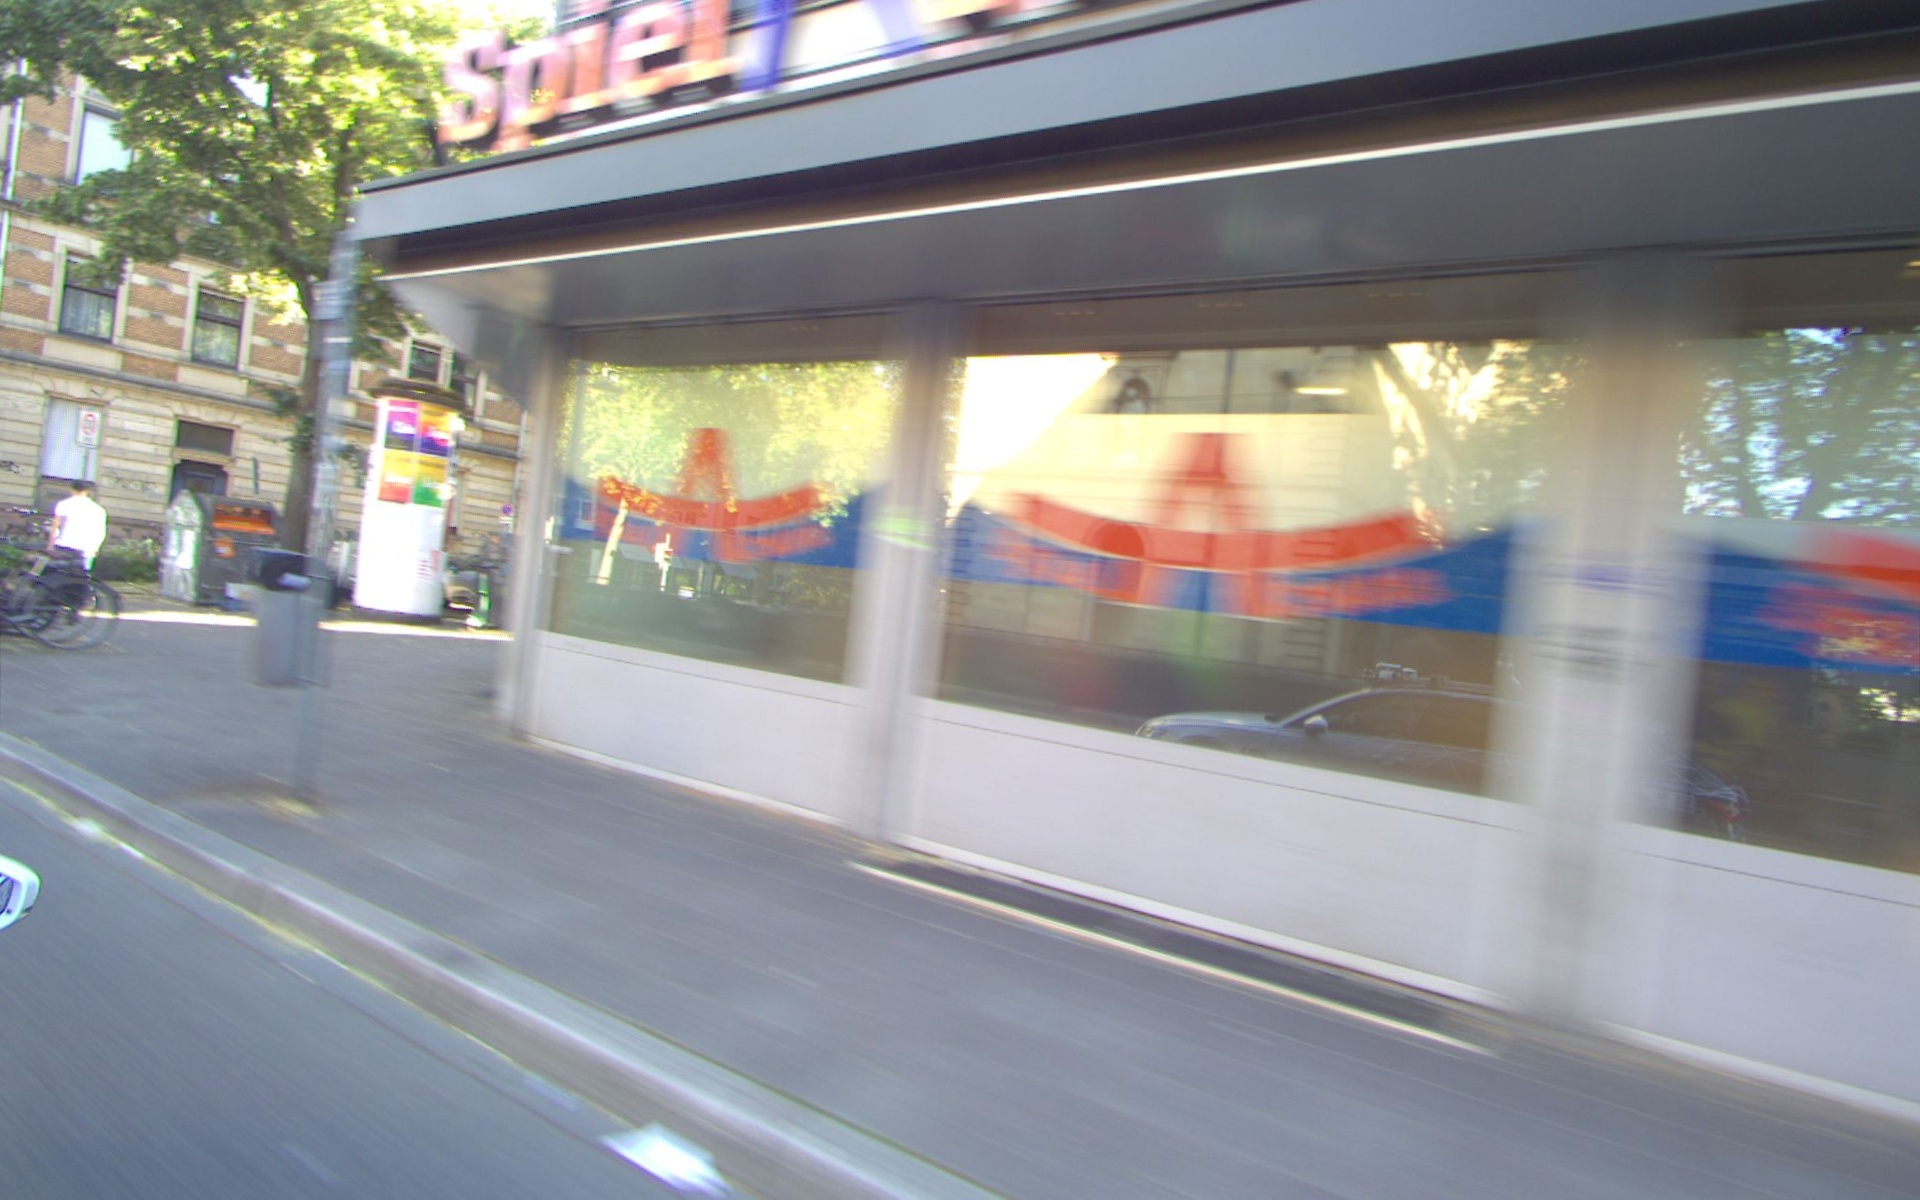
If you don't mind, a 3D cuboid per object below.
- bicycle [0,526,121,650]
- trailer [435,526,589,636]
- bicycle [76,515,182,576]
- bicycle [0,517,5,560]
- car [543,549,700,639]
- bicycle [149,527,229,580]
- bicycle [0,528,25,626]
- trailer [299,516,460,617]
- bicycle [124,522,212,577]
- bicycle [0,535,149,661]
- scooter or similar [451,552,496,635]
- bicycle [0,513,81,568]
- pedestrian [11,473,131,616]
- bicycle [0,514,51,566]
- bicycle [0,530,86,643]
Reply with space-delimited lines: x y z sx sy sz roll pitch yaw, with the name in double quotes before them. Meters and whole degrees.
"bicycle" -9.224 -0.150 9.401 0.604 1.118 1.974 7 -1 28
"trailer" -8.986 -0.401 20.101 3.142 1.907 1.572 5 0 42
"bicycle" -20.386 -1.335 24.699 2.067 1.196 0.616 7 0 5
"bicycle" -21.898 -1.418 22.002 1.871 1.037 0.418 7 0 12
"car" -8.350 -0.176 24.643 3.883 1.752 1.963 5 -3 45
"bicycle" -19.993 -1.202 26.099 1.871 1.137 0.405 7 0 10
"bicycle" -11.250 -0.347 10.604 0.698 1.066 1.838 7 -1 28
"trailer" -12.583 -0.757 21.713 1.961 1.754 3.883 6 0 -45
"bicycle" -20.225 -1.292 25.696 1.919 1.137 0.447 7 0 7
"bicycle" -8.670 -0.046 9.082 0.669 1.060 1.918 7 -1 28
"scooter or similar" -8.511 -0.110 17.618 0.368 1.360 1.277 7 -2 -17
"bicycle" -21.308 -1.380 23.146 1.871 1.037 0.497 7 0 10
"pedestrian" -11.636 -0.724 13.172 1.016 1.686 0.784 9 1 32
"bicycle" -21.677 -1.418 22.707 1.872 1.052 0.463 7 0 3
"bicycle" -9.840 -0.196 9.766 0.705 1.066 1.838 7 -1 28
